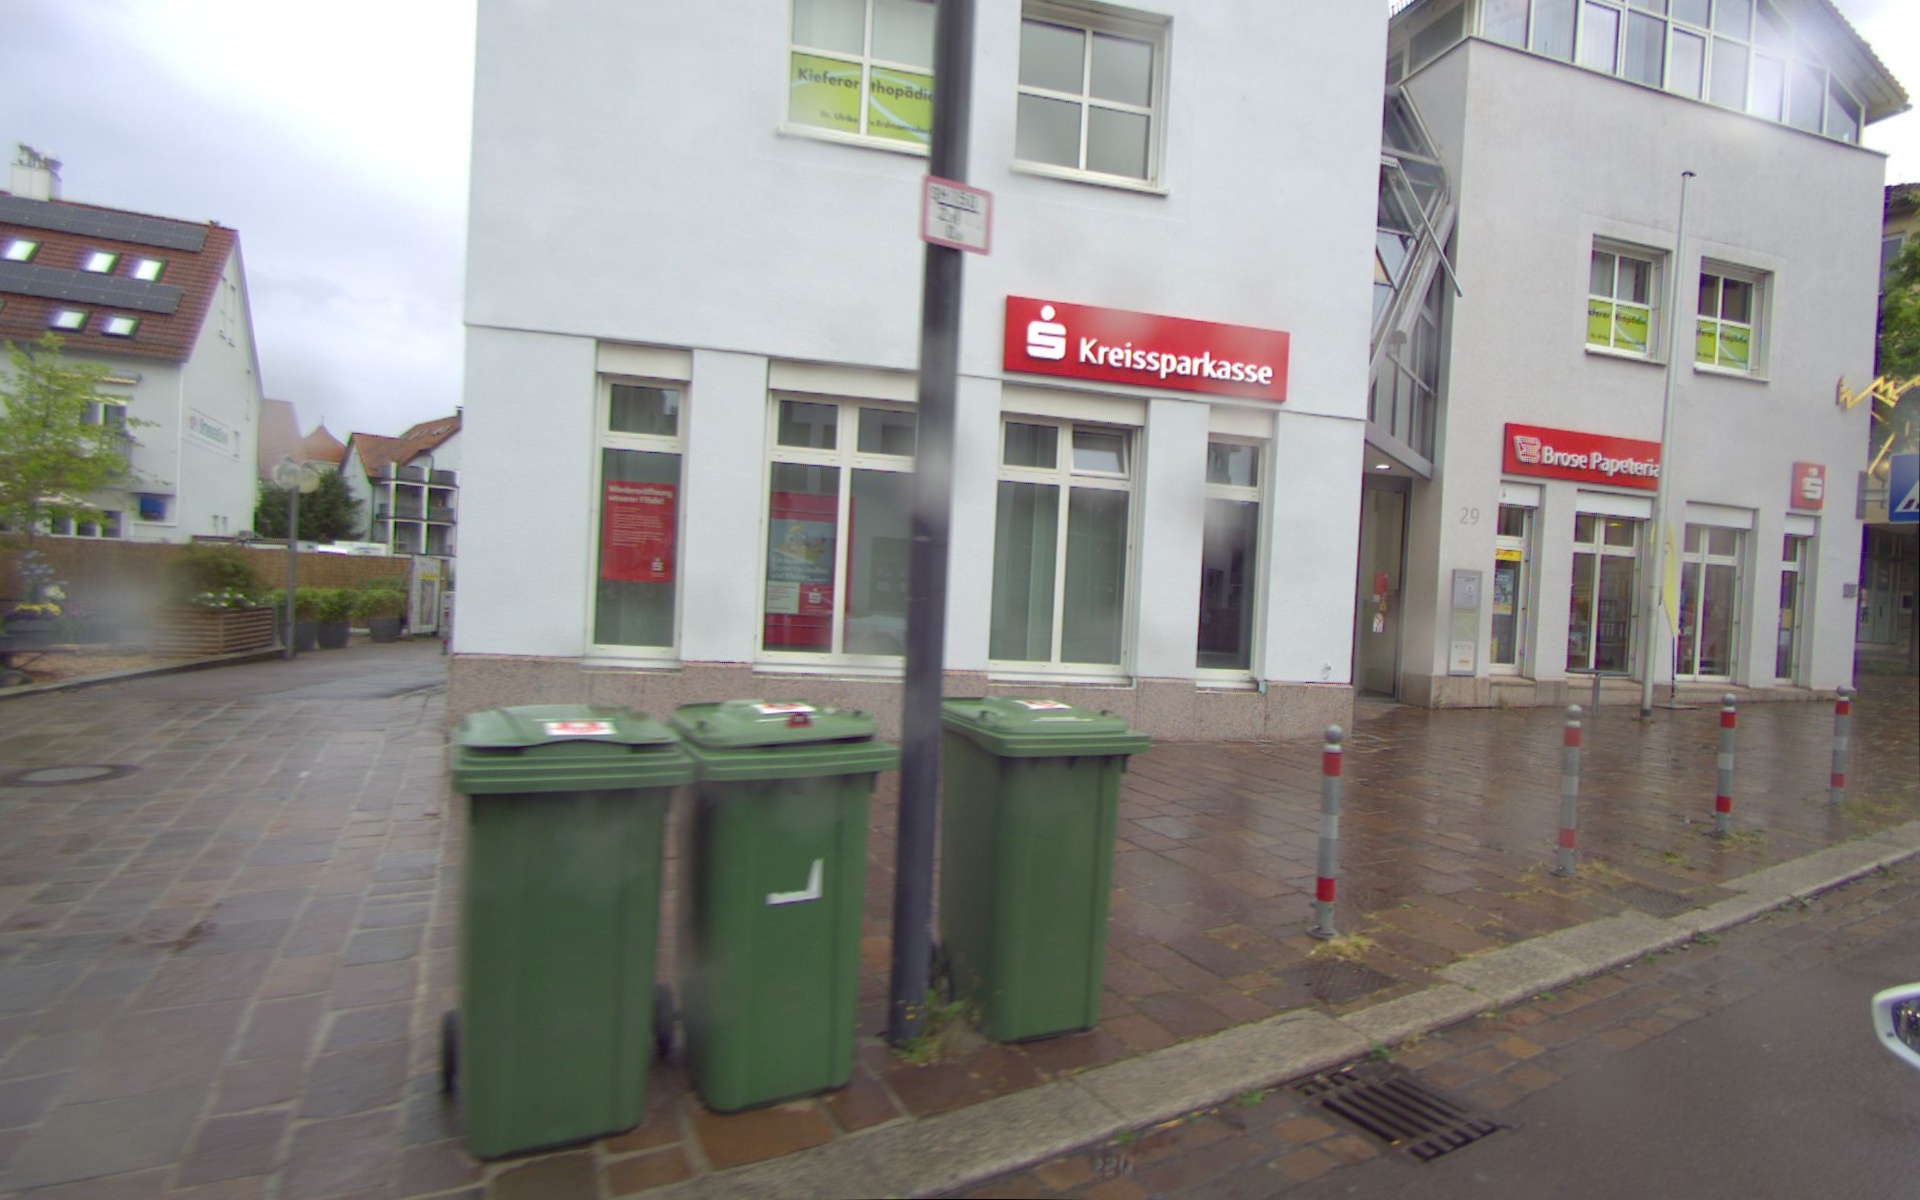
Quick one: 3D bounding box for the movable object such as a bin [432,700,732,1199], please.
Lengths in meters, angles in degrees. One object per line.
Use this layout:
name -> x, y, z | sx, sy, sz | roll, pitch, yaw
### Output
movable object such as a bin -> -1.044, 0.843, 2.721 | 0.637, 1.061, 0.692 | 2, 0, -30

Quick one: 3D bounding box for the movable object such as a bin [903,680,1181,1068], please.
movable object such as a bin -> 0.263, 0.870, 3.503 | 0.637, 1.091, 0.692 | 2, 3, -30

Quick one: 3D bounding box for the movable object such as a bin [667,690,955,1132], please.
movable object such as a bin -> -0.472, 0.841, 3.047 | 0.637, 1.065, 0.692 | 2, 0, -30

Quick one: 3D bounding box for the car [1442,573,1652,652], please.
car -> 13.617, 0.274, 23.614 | 1.827, 1.639, 4.105 | 2, 0, -17
